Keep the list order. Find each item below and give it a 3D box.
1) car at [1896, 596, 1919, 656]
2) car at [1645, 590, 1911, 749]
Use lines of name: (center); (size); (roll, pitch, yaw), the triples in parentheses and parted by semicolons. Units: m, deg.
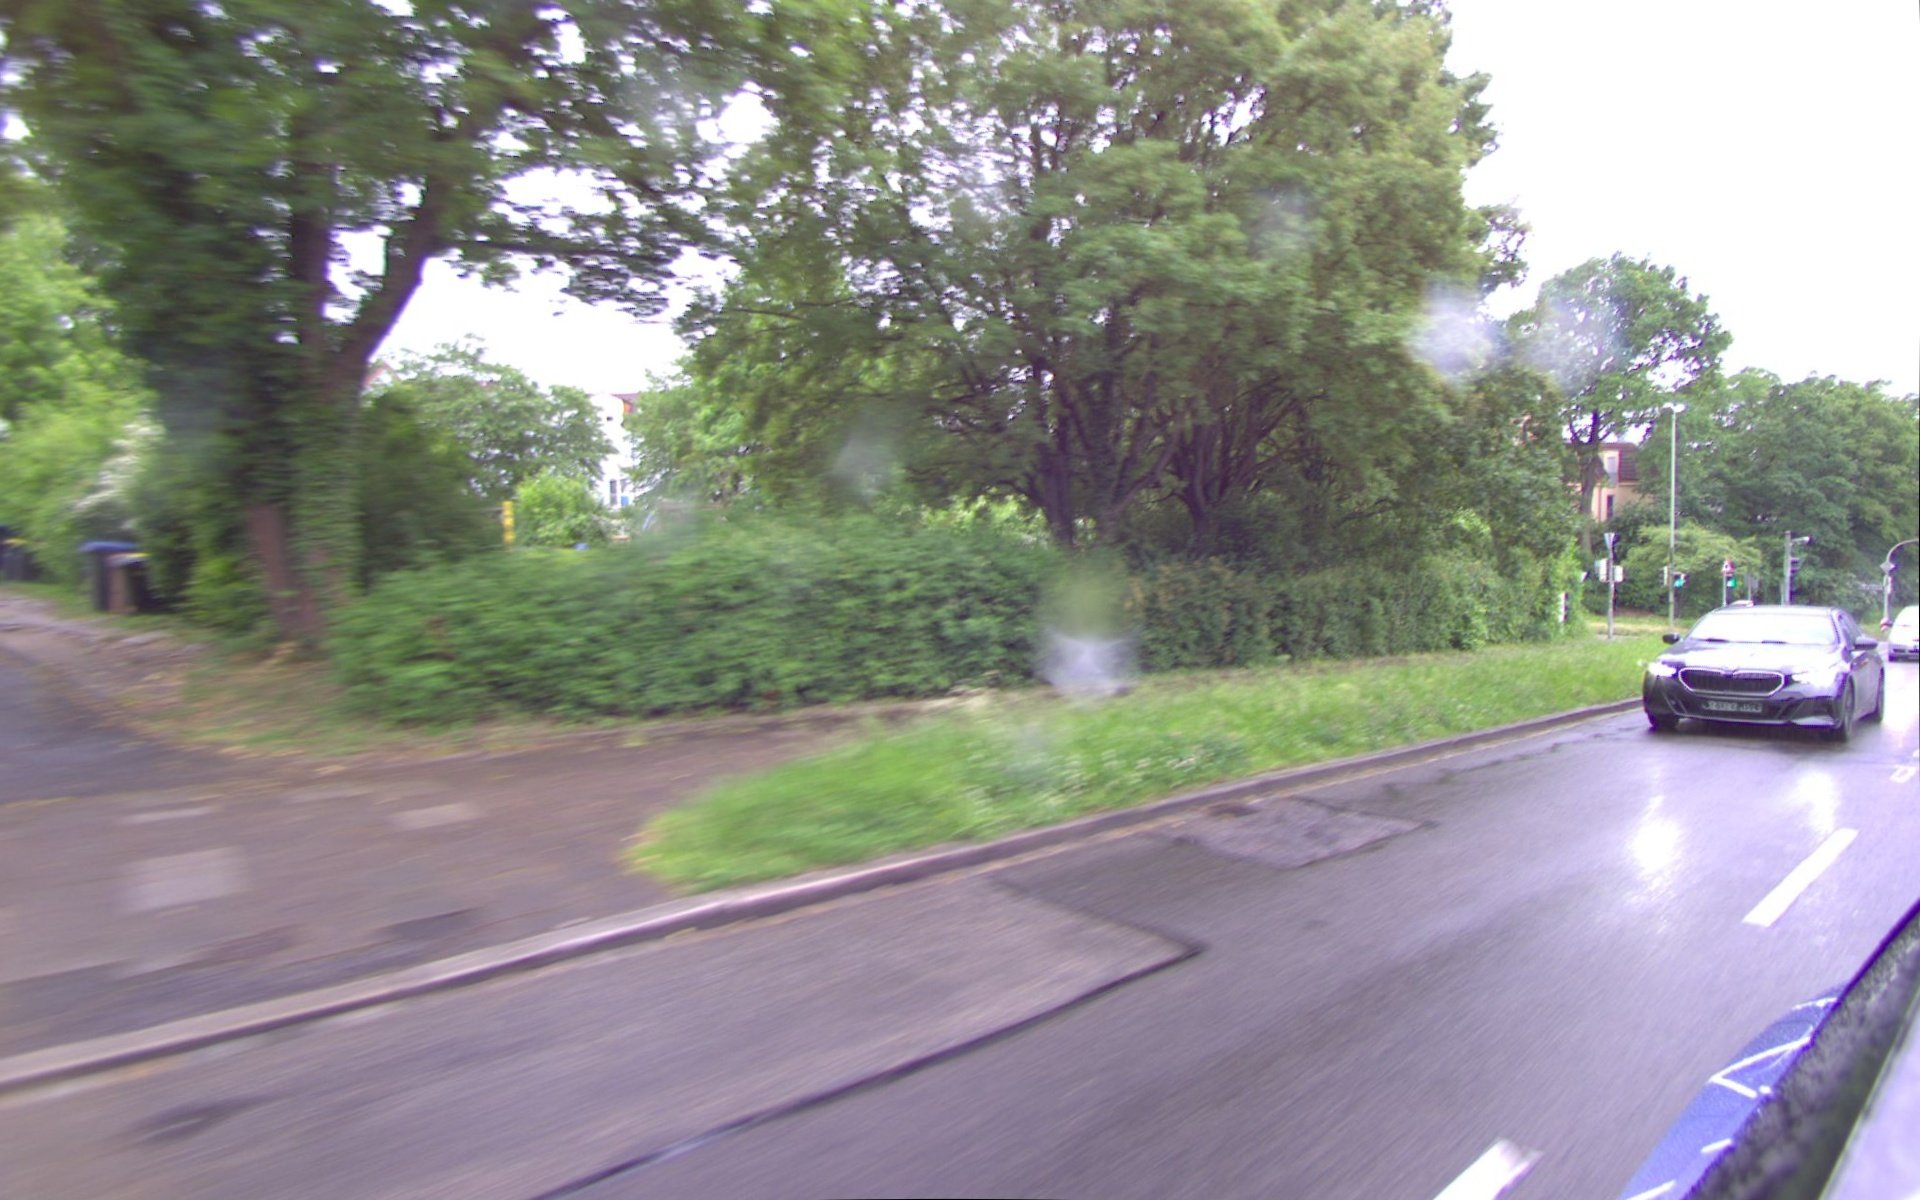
car: (27.365, 0.716, 27.934); (4.048, 1.575, 1.813); (0, 2, -41)
car: (10.196, 0.700, 12.518); (4.048, 1.575, 1.866); (0, 2, -41)
